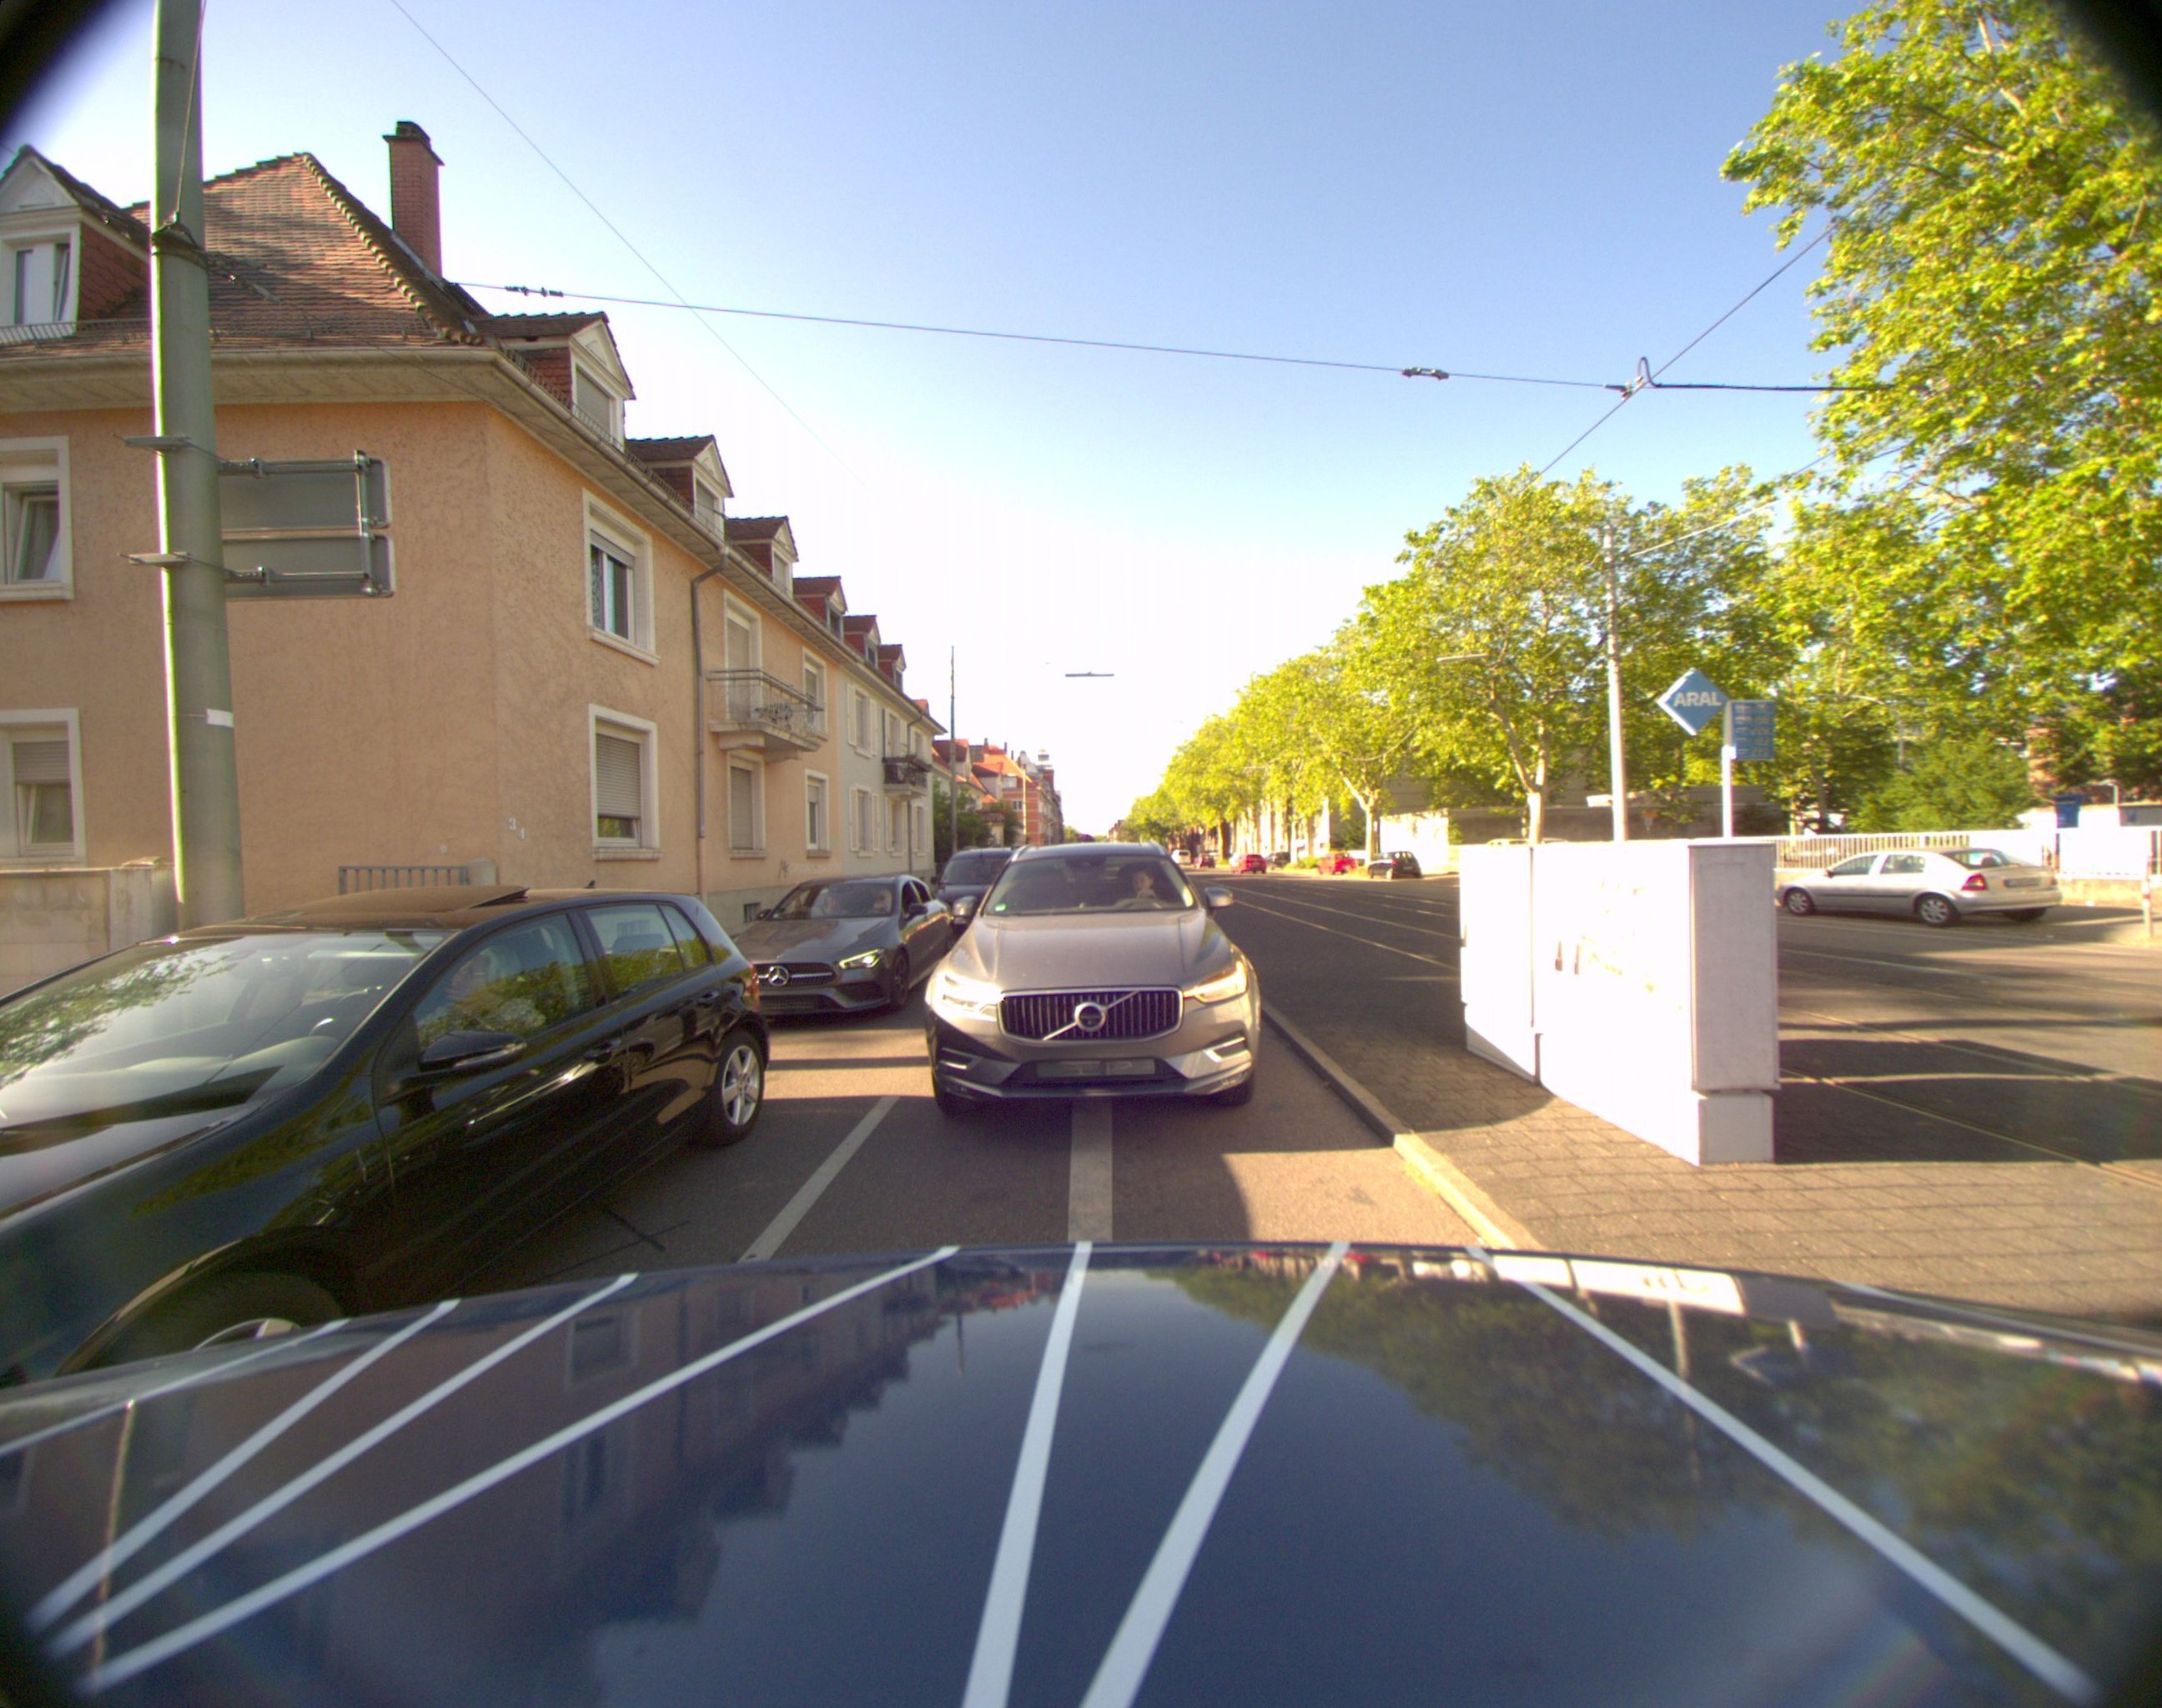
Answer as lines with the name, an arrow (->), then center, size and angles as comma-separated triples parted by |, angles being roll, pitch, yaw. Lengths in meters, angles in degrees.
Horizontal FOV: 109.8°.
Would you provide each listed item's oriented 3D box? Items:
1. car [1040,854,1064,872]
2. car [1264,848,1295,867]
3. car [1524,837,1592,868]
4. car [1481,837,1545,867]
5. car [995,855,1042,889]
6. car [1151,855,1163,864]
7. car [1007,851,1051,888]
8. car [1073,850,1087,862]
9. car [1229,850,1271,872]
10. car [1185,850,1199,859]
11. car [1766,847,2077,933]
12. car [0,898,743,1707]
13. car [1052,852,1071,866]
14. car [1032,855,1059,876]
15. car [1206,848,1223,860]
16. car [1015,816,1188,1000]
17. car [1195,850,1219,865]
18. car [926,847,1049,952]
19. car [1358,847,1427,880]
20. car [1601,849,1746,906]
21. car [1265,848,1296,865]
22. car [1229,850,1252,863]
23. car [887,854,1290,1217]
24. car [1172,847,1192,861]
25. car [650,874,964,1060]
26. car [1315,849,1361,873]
car -> -2.523, 0.800, 66.999 | 1.841, 1.449, 3.999 | -2, 1, 1
car -> 17.176, 0.318, 65.994 | 1.700, 1.566, 3.999 | -1, 1, 1
car -> 23.583, -0.098, 37.687 | 1.545, 1.412, 3.151 | -2, 1, 4
car -> 21.725, -0.113, 38.321 | 1.545, 1.412, 3.151 | -2, 1, 4
car -> -2.968, 0.844, 36.794 | 1.841, 1.449, 3.999 | -2, 1, 1
car -> 13.352, 0.902, 134.098 | 1.764, 1.487, 3.999 | -2, 1, 1
car -> -2.945, 0.806, 44.814 | 1.937, 1.888, 7.210 | -2, 1, 1
car -> -0.149, 0.268, 106.489 | 1.841, 1.449, 3.999 | -2, 1, 1
car -> 11.979, 0.458, 54.266 | 1.912, 1.514, 4.763 | 0, 1, 0
car -> 18.344, 0.021, 125.560 | 1.700, 1.401, 3.999 | -1, 1, 1
car -> 16.207, 0.597, 15.016 | 1.731, 1.412, 3.999 | -2, 1, 1
car -> -2.946, 1.003, 2.541 | 1.733, 1.499, 4.051 | -2, -1, 1
car -> -2.173, 0.581, 85.437 | 1.841, 1.449, 3.999 | -2, 1, 1
car -> -2.819, 0.883, 60.590 | 1.841, 1.449, 3.999 | -2, 1, 1
car -> 17.674, 0.006, 100.783 | 1.700, 1.548, 3.999 | -1, 1, 1
car -> 0.242, 0.594, 11.123 | 1.912, 2.048, 4.763 | -2, 1, 0
car -> 12.684, 0.327, 76.706 | 1.700, 1.412, 3.999 | 2, 1, 1
car -> -1.768, 0.799, 15.924 | 1.866, 1.794, 4.778 | -2, 1, 1
car -> 16.825, 0.472, 41.322 | 1.753, 1.514, 4.434 | -5, 1, -1
car -> 16.475, 0.601, 21.320 | 1.546, 1.412, 3.254 | -2, 1, 1
car -> 17.293, 0.225, 65.913 | 1.700, 1.401, 3.999 | -1, 1, 1
car -> 17.525, 0.248, 83.521 | 1.700, 1.401, 3.999 | -1, 1, 1
car -> 0.044, 0.891, 6.108 | 1.912, 1.666, 4.763 | -2, 1, 0
car -> 12.902, -0.022, 97.004 | 1.850, 1.835, 4.394 | -1, 1, -1
car -> -2.782, 1.068, 8.989 | 1.911, 1.411, 4.492 | -2, 1, 2
car -> 17.009, 0.451, 50.449 | 1.700, 1.460, 3.999 | -1, 1, 1
